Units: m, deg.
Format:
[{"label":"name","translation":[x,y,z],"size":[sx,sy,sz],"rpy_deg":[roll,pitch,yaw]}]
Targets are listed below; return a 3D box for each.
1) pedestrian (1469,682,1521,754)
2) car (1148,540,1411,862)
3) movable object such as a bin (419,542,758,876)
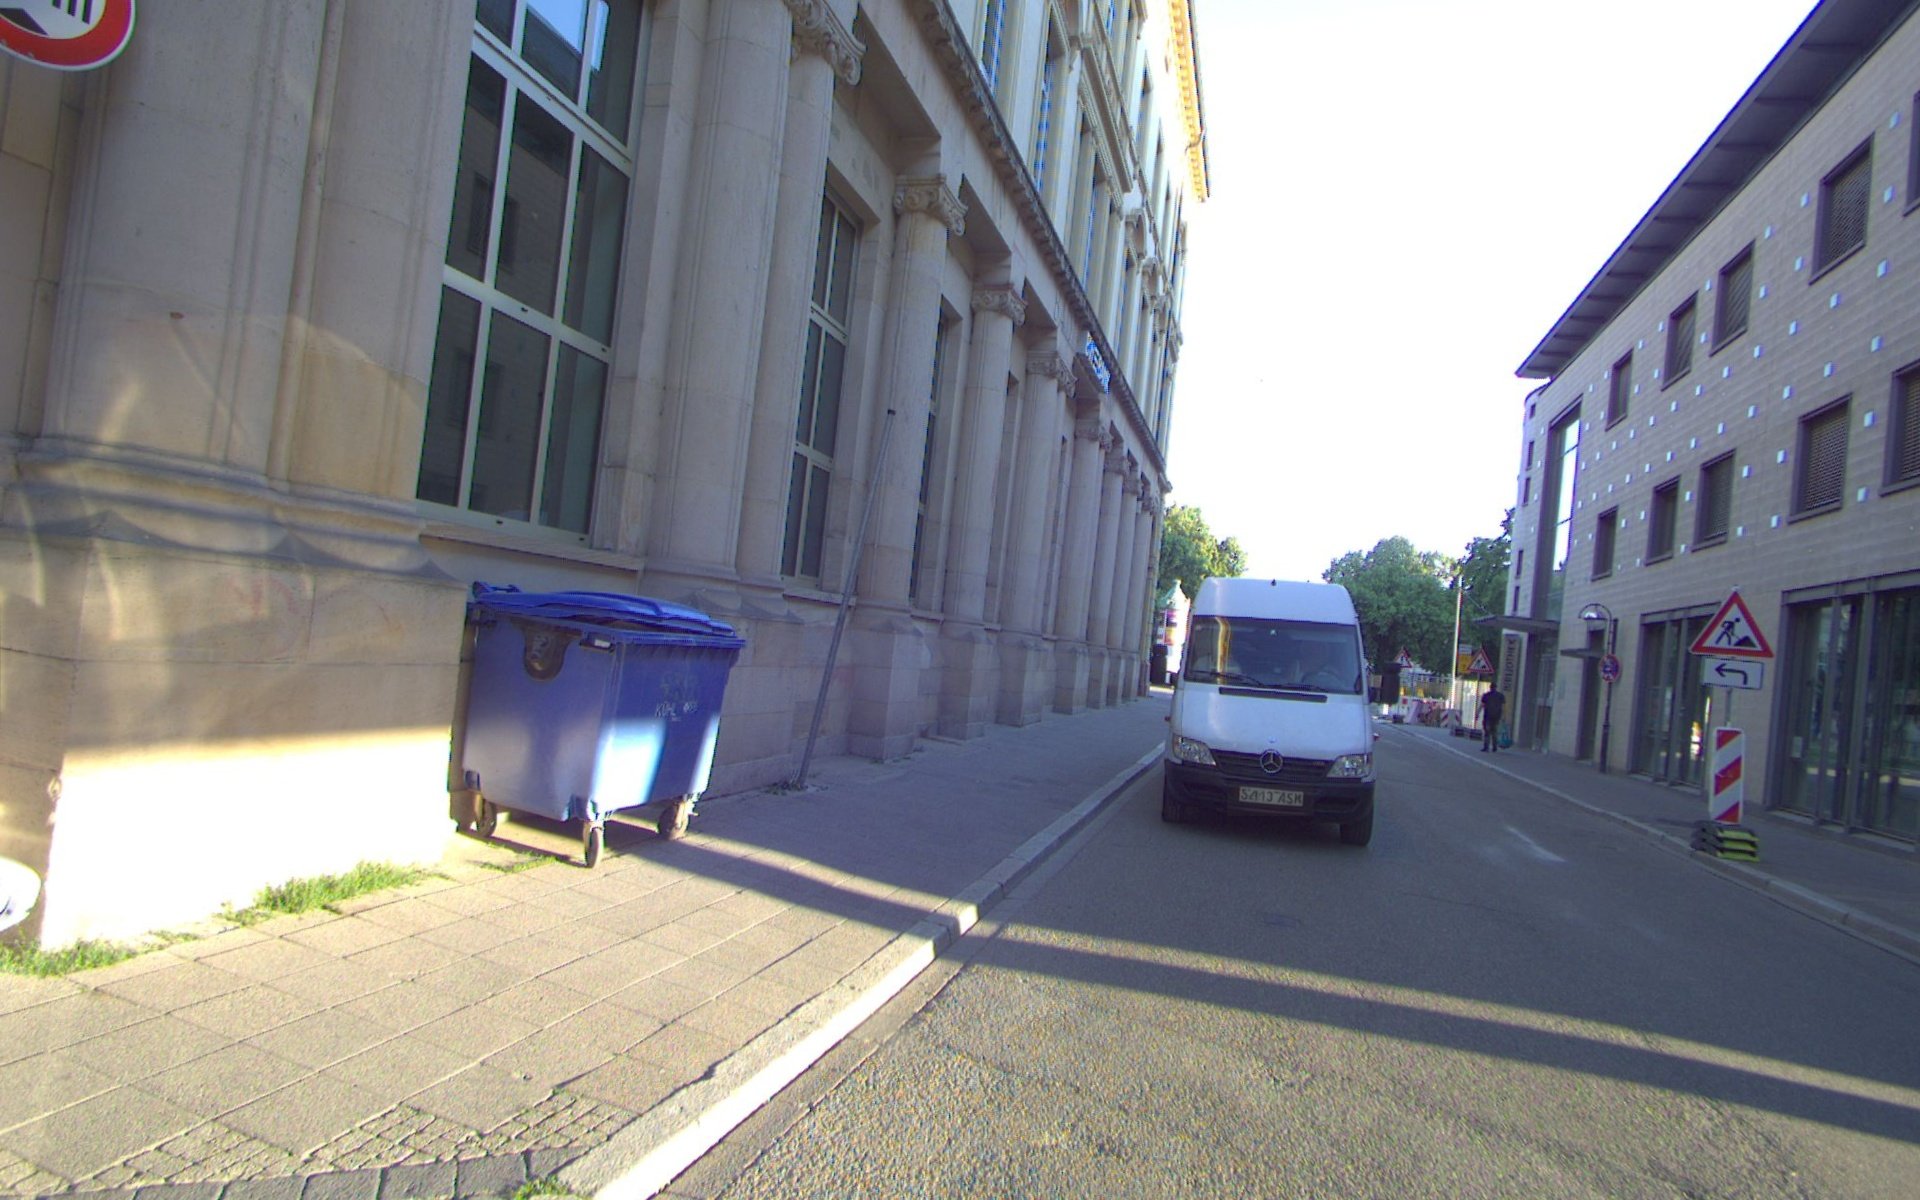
[{"label":"pedestrian","translation":[13.976,3.065,26.315],"size":[0.908,1.722,0.869],"rpy_deg":[6,-1,18]},{"label":"car","translation":[3.482,1.000,11.613],"size":[1.964,2.542,6.476],"rpy_deg":[4,-2,15]},{"label":"movable object such as a bin","translation":[-1.997,0.558,5.571],"size":[1.057,1.492,1.188],"rpy_deg":[9,0,21]}]
